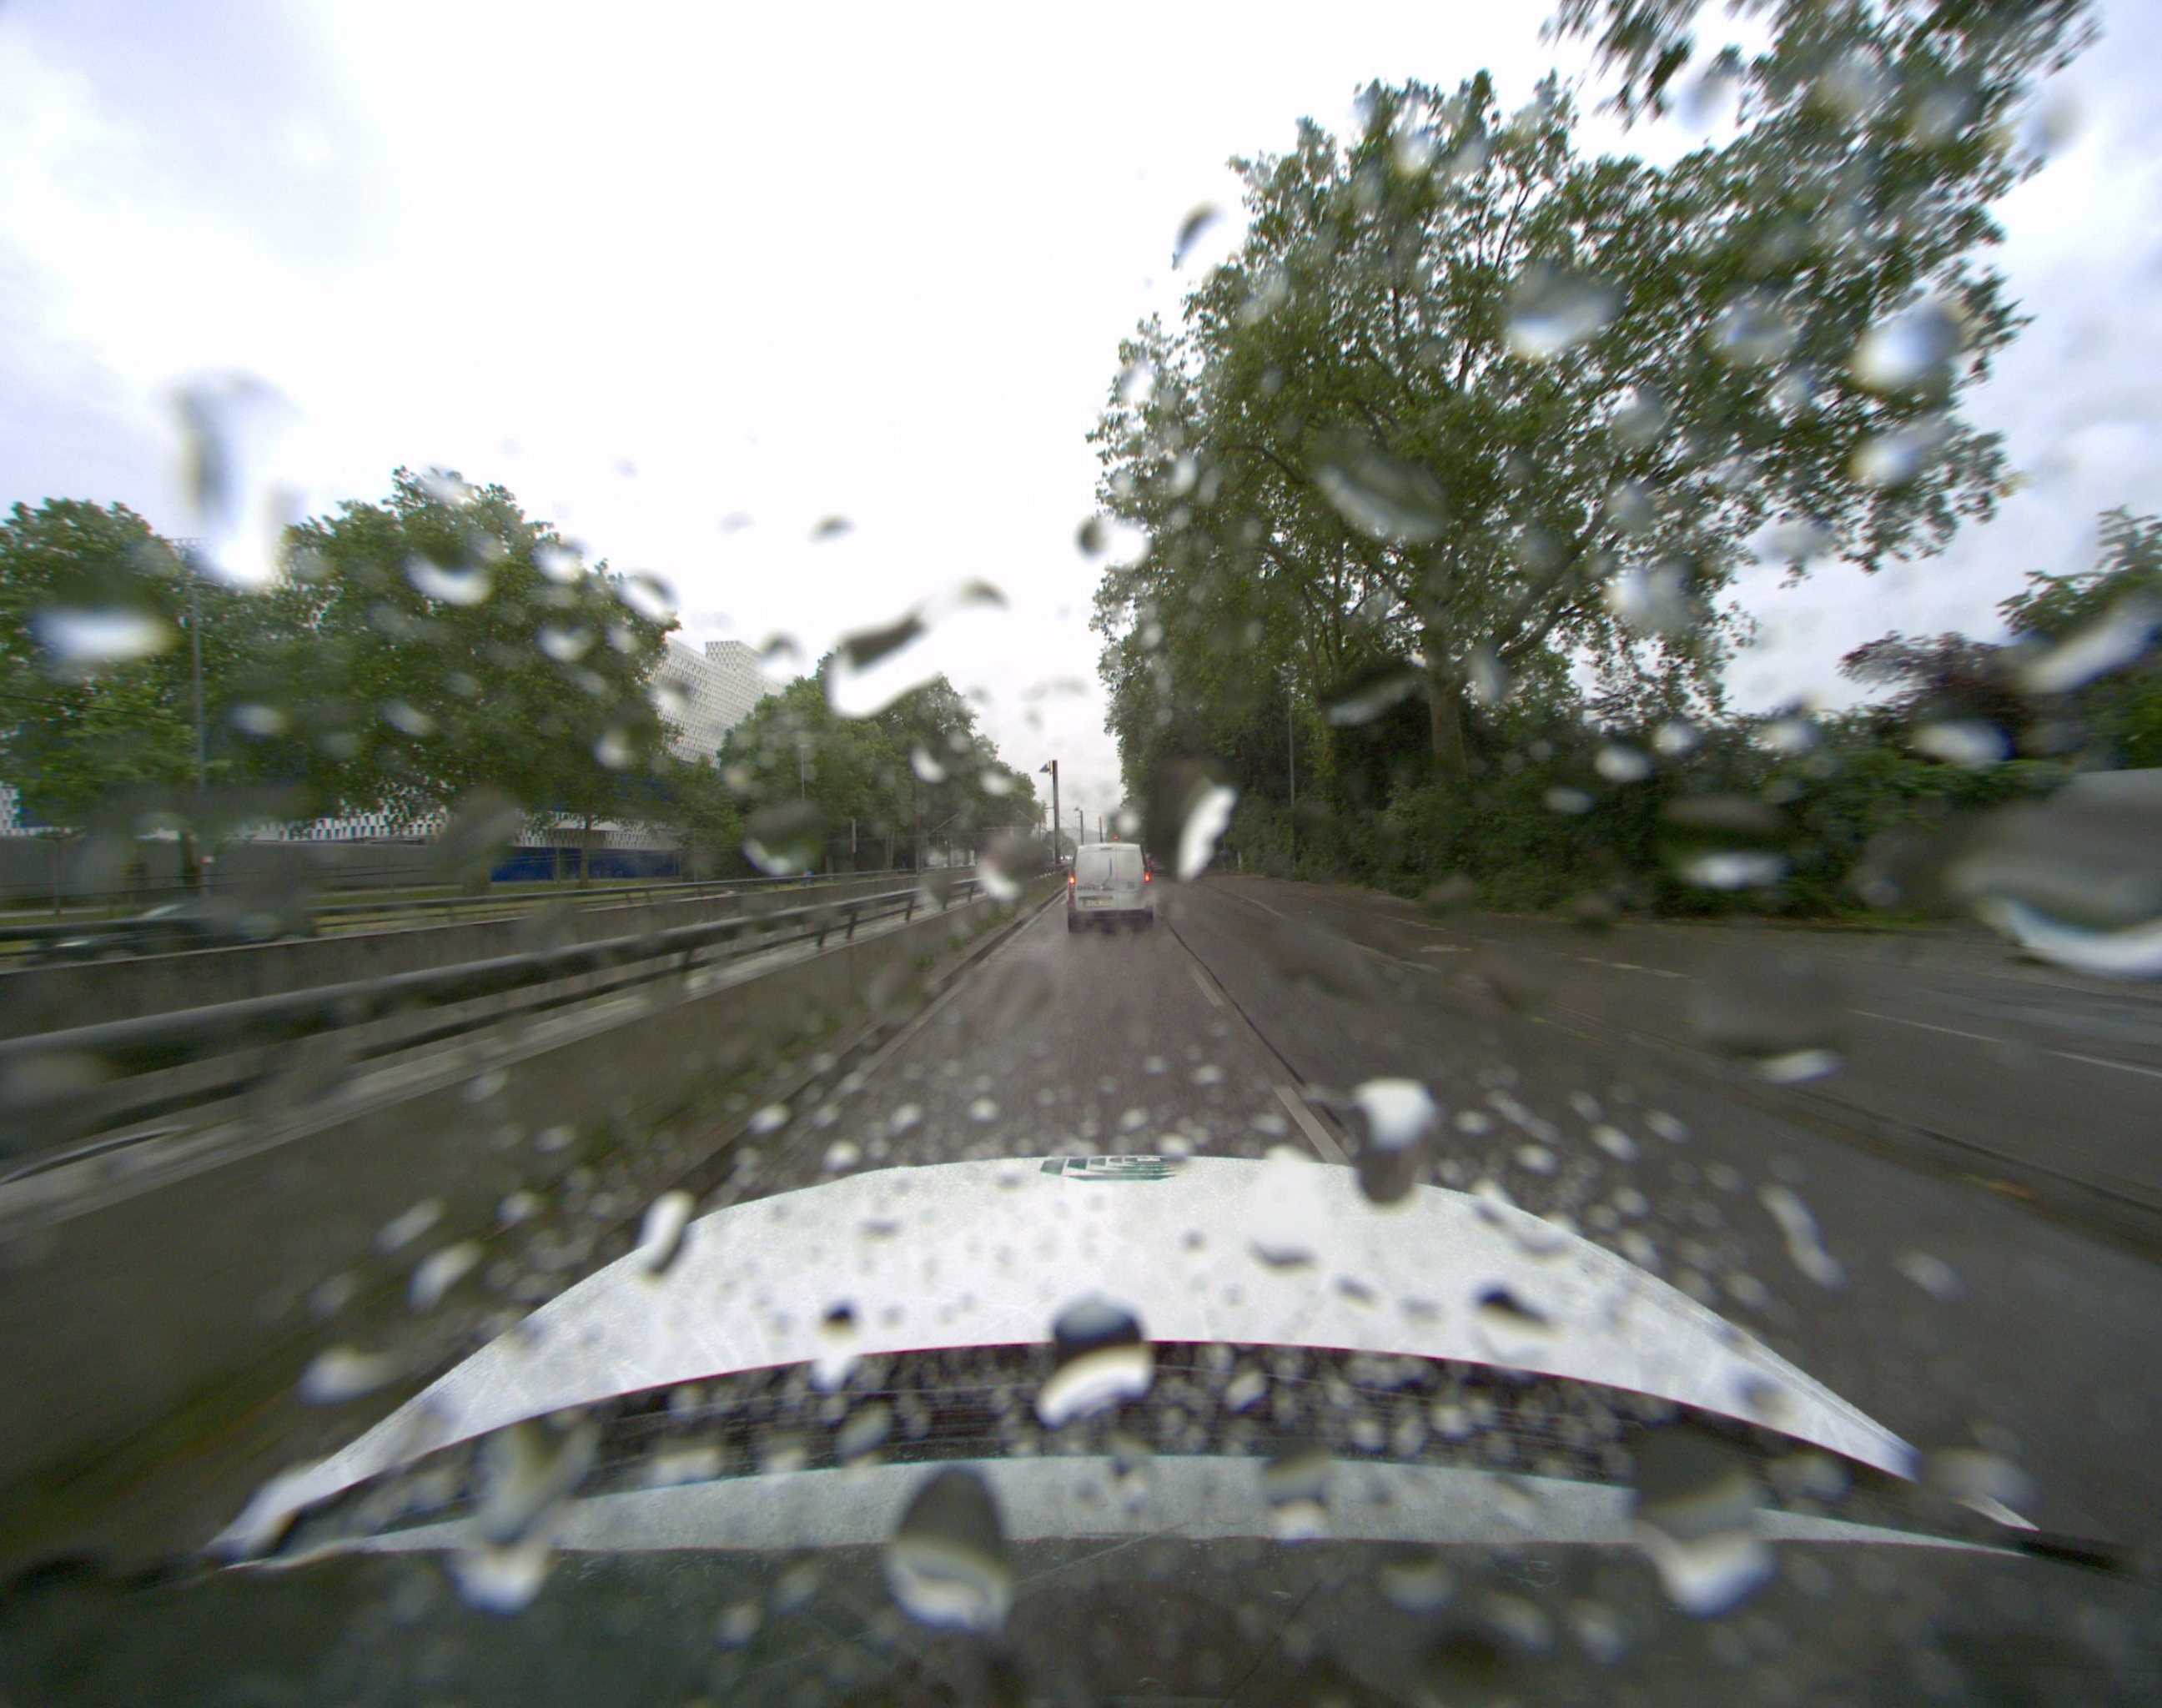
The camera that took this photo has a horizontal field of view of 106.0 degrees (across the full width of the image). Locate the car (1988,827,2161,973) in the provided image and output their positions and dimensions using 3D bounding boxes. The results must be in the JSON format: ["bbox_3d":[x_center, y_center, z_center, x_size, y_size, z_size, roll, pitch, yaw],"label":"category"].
[{"bbox_3d":[11.607,0.451,8.016,1.616,1.432,3.515,0,-1,-39],"label":"car"}]

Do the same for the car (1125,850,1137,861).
[{"bbox_3d":[8.266,0.236,133.703,1.985,1.750,4.004,0,0,4],"label":"car"}]

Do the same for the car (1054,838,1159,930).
[{"bbox_3d":[0.552,0.591,17.864,2.017,1.775,4.275,0,0,1],"label":"car"}]

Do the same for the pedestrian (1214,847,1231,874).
[{"bbox_3d":[9.110,0.405,52.337,0.963,1.702,1.141,0,-1,3],"label":"pedestrian"}]

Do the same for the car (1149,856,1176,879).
[{"bbox_3d":[6.187,1.003,62.060,1.984,1.750,4.005,0,0,5],"label":"car"}]

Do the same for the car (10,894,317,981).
[{"bbox_3d":[-19.092,1.663,17.187,1.977,1.404,3.813,-1,0,20],"label":"car"}]

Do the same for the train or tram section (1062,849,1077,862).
[{"bbox_3d":[-3.746,0.665,269.960,3.755,4.036,27.105,0,0,2],"label":"train or tram section"}]
